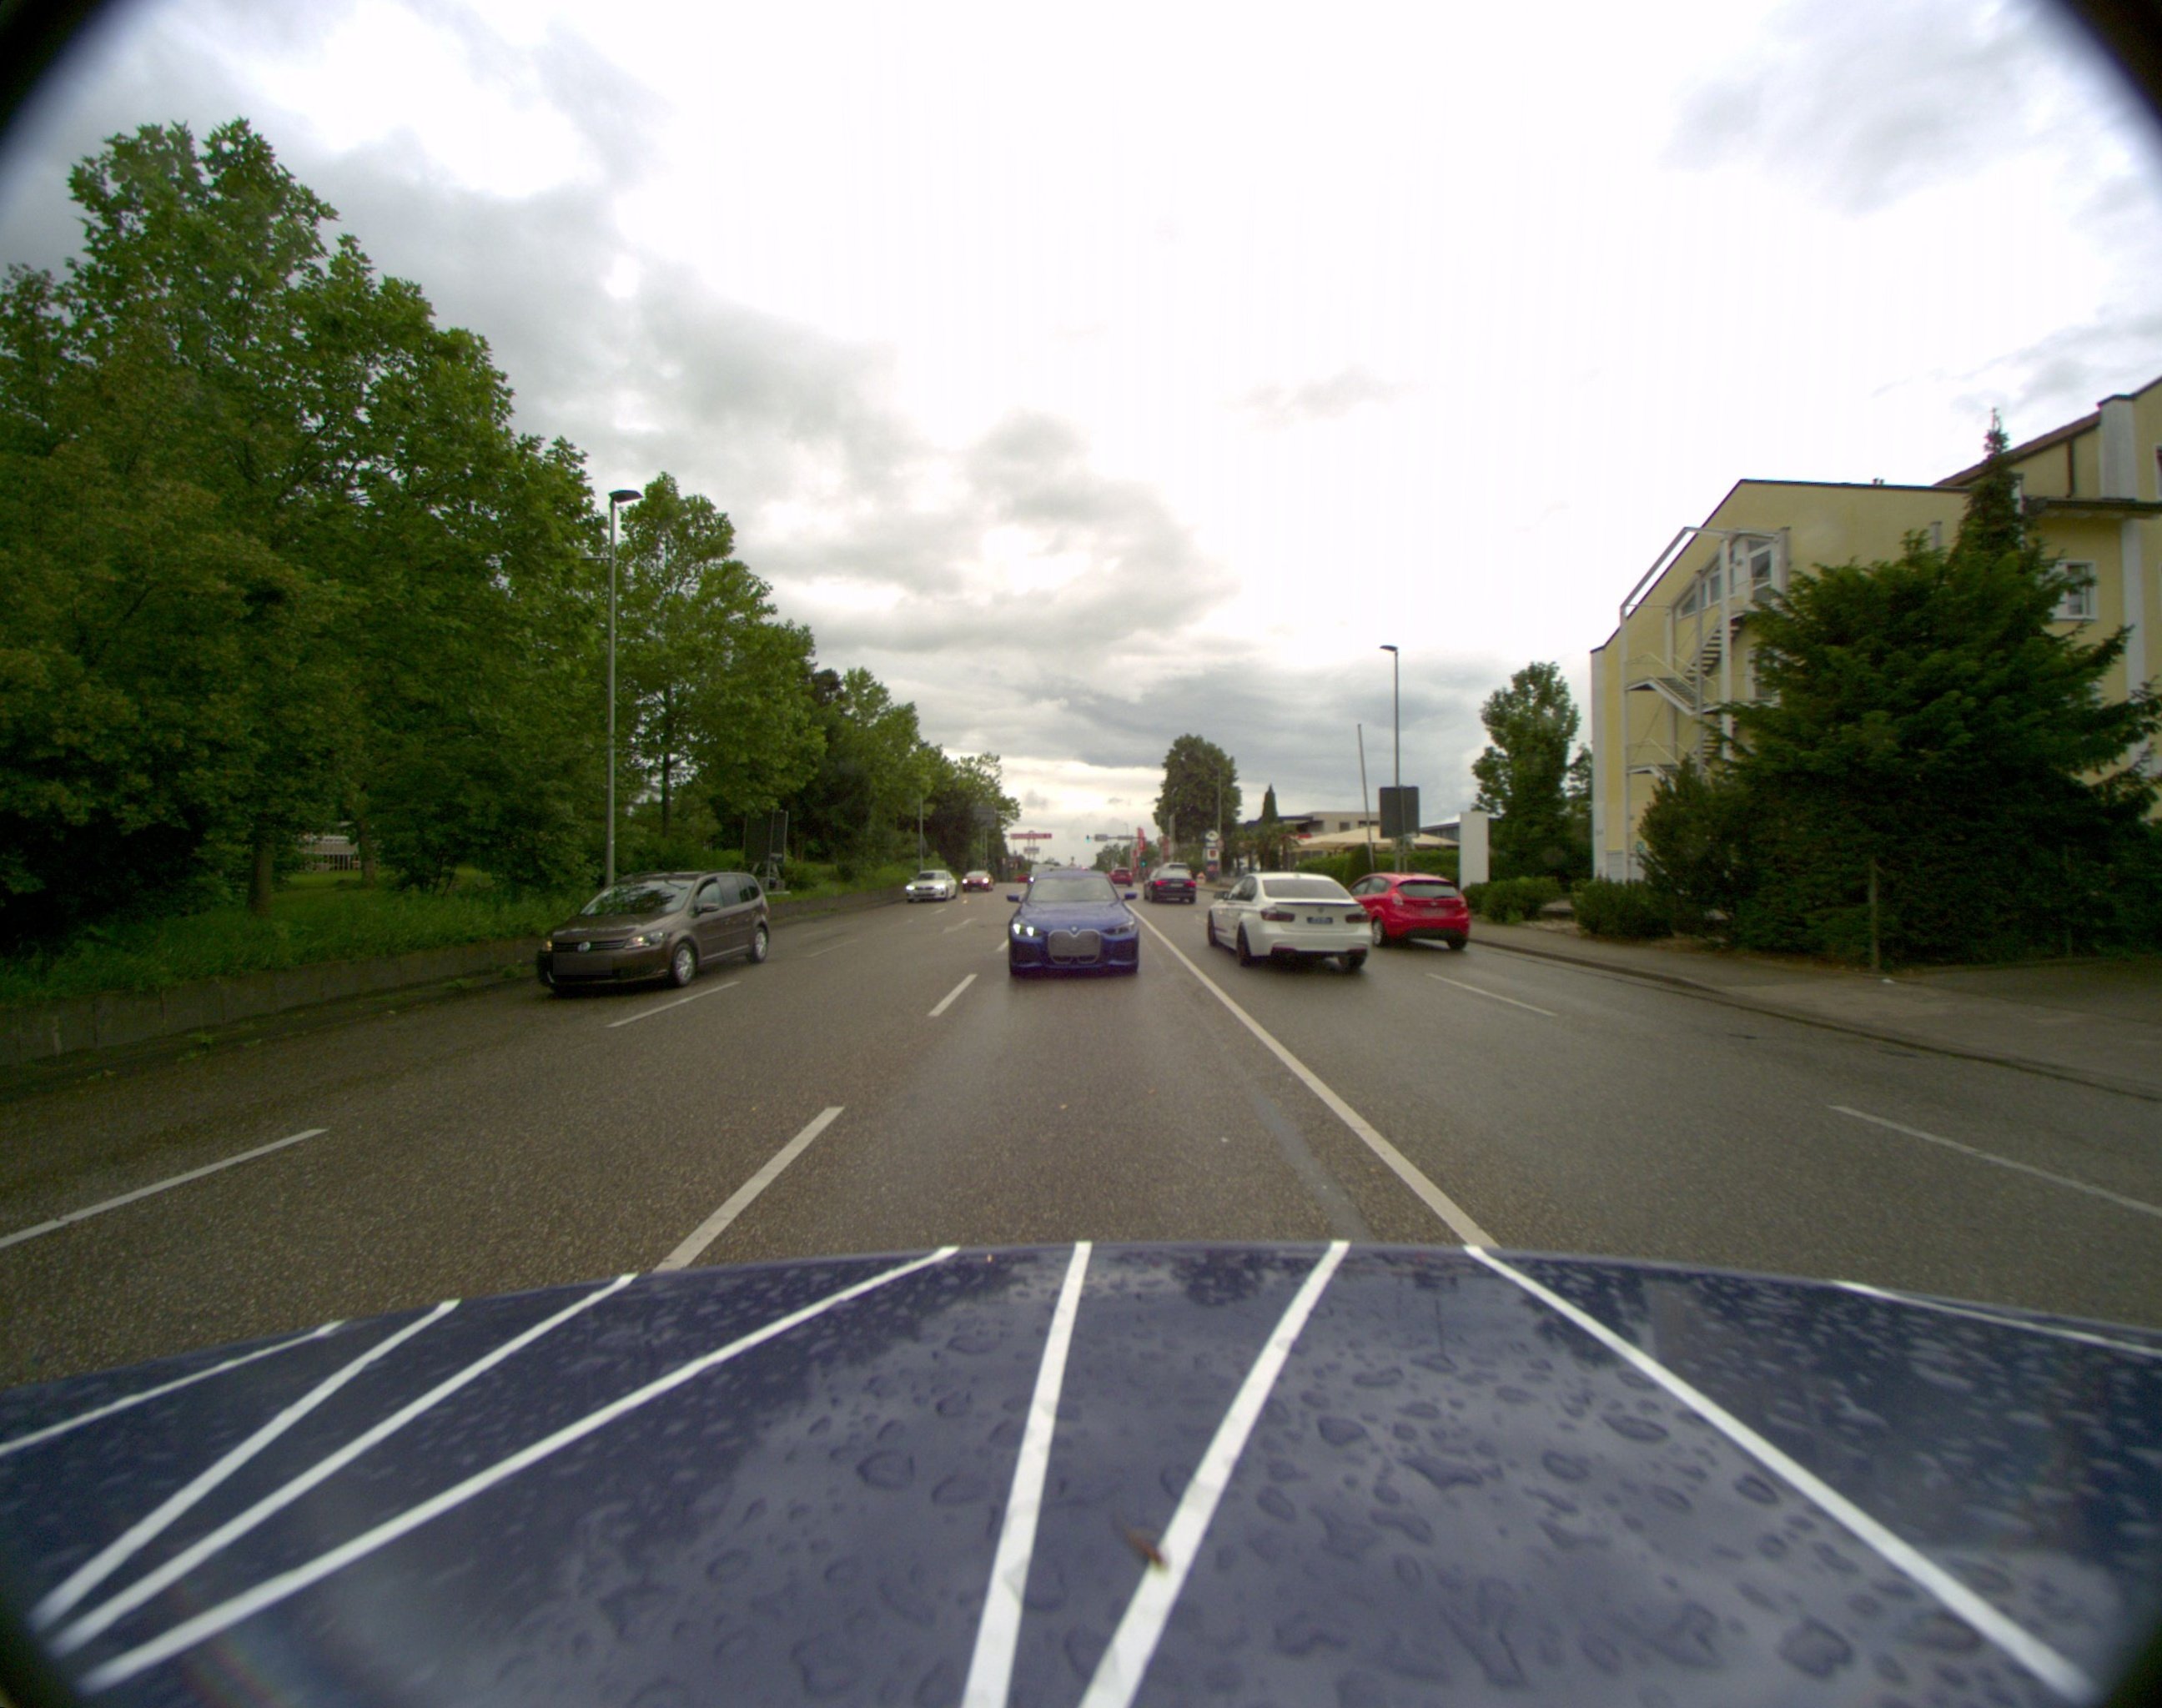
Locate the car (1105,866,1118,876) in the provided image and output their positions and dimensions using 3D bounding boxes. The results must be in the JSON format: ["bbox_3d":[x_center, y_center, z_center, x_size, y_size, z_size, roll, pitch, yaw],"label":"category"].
[{"bbox_3d":[5.154,2.832,128.168,1.903,1.641,3.999,0,0,-1],"label":"car"}]

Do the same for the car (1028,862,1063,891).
[{"bbox_3d":[-2.033,1.264,44.278,1.807,1.543,4.000,0,0,1],"label":"car"}]

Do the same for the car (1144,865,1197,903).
[{"bbox_3d":[3.643,1.204,31.343,1.699,1.345,3.780,2,0,0],"label":"car"}]

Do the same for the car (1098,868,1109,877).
[{"bbox_3d":[4.121,3.469,141.266,1.903,1.641,3.999,0,0,0],"label":"car"}]

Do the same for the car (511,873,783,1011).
[{"bbox_3d":[-6.215,1.152,11.527,1.740,1.566,4.068,-2,0,0],"label":"car"}]

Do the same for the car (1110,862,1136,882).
[{"bbox_3d":[3.184,1.324,58.350,1.764,1.418,3.780,-1,0,-1],"label":"car"}]

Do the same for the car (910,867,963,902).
[{"bbox_3d":[-6.881,1.419,36.481,1.669,1.419,4.304,-2,1,0],"label":"car"}]

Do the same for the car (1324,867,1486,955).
[{"bbox_3d":[6.505,1.071,15.722,1.699,1.467,3.780,1,0,0],"label":"car"}]

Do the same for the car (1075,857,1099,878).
[{"bbox_3d":[0.456,1.034,59.718,1.807,1.543,4.000,0,0,1],"label":"car"}]

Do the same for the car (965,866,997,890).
[{"bbox_3d":[-6.527,1.571,49.832,1.629,1.395,3.689,-2,0,-1],"label":"car"}]

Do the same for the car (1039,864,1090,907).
[{"bbox_3d":[-0.566,1.151,29.479,1.807,1.543,4.223,0,0,1],"label":"car"}]

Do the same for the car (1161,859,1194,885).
[{"bbox_3d":[6.620,1.218,52.417,1.764,1.665,3.780,-1,0,-1],"label":"car"}]

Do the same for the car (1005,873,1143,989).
[{"bbox_3d":[-0.076,1.070,12.133,1.803,1.399,4.272,0,0,0],"label":"car"}]

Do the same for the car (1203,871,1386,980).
[{"bbox_3d":[3.262,1.028,12.514,1.820,1.373,4.272,0,0,0],"label":"car"}]
